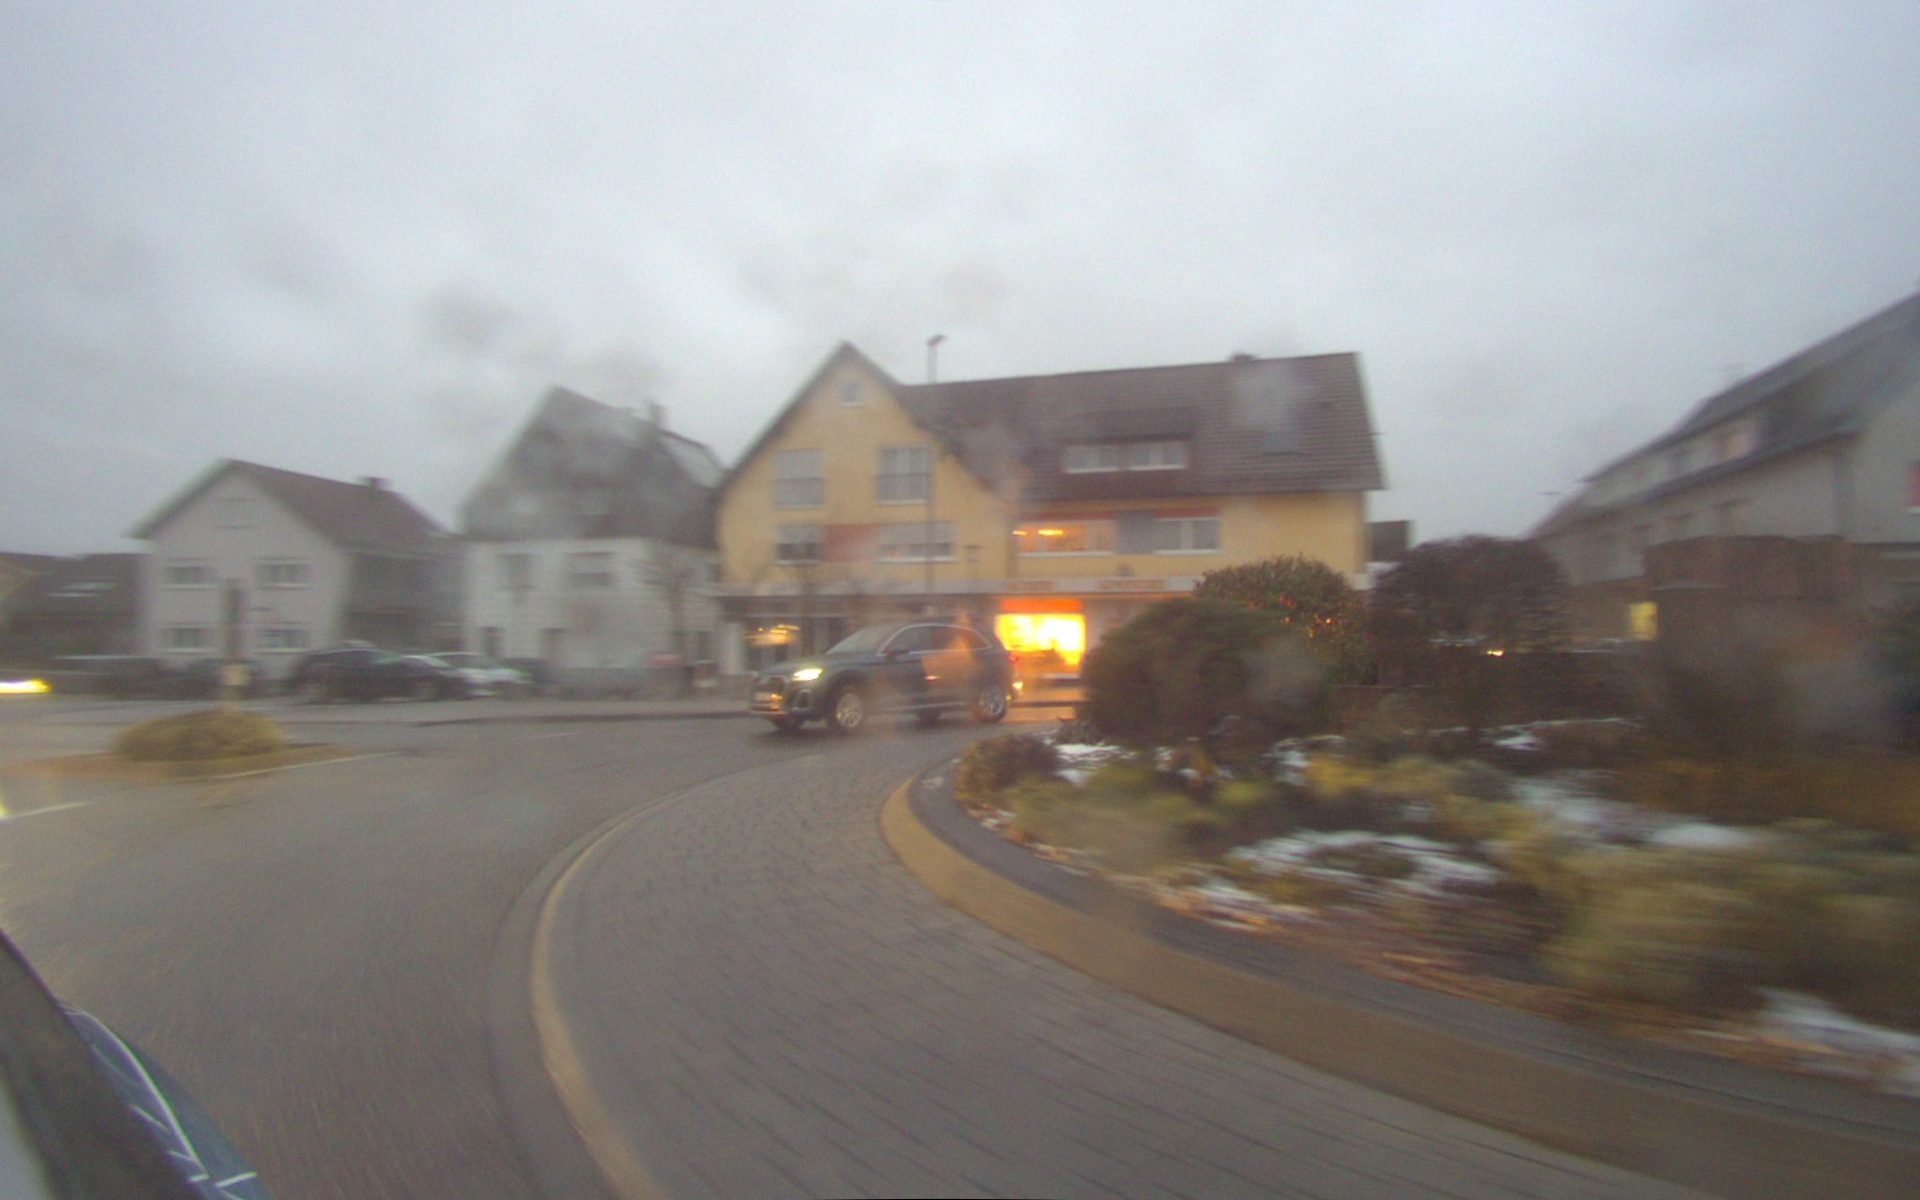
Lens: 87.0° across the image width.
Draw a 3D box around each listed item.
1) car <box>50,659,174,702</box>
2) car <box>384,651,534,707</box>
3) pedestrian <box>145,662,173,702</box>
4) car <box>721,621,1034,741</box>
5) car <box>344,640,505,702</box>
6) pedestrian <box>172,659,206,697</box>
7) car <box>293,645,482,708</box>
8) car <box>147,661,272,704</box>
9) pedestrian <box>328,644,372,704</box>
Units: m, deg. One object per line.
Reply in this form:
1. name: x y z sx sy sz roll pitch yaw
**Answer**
1. car: -34.562 3.267 41.276 3.913 1.673 1.700 -1 -2 8
2. car: -15.712 2.485 31.923 3.933 1.644 1.769 0 -5 -14
3. pedestrian: -26.791 2.727 33.866 0.592 1.312 0.512 0 -3 -21
4. car: -1.208 1.170 15.877 4.557 1.605 1.958 1 -3 -38
5. car: -15.329 2.052 29.208 3.830 1.683 1.846 0 -5 -18
6. pedestrian: -26.862 2.712 35.265 0.597 1.259 0.690 -2 -3 12
7. car: -15.012 1.973 26.812 4.108 1.543 1.920 1 -3 -22
8. car: -29.953 3.282 40.427 4.049 1.581 1.774 -1 -2 11
9. pedestrian: -18.050 2.183 29.962 0.829 1.725 0.725 -1 -5 -4
